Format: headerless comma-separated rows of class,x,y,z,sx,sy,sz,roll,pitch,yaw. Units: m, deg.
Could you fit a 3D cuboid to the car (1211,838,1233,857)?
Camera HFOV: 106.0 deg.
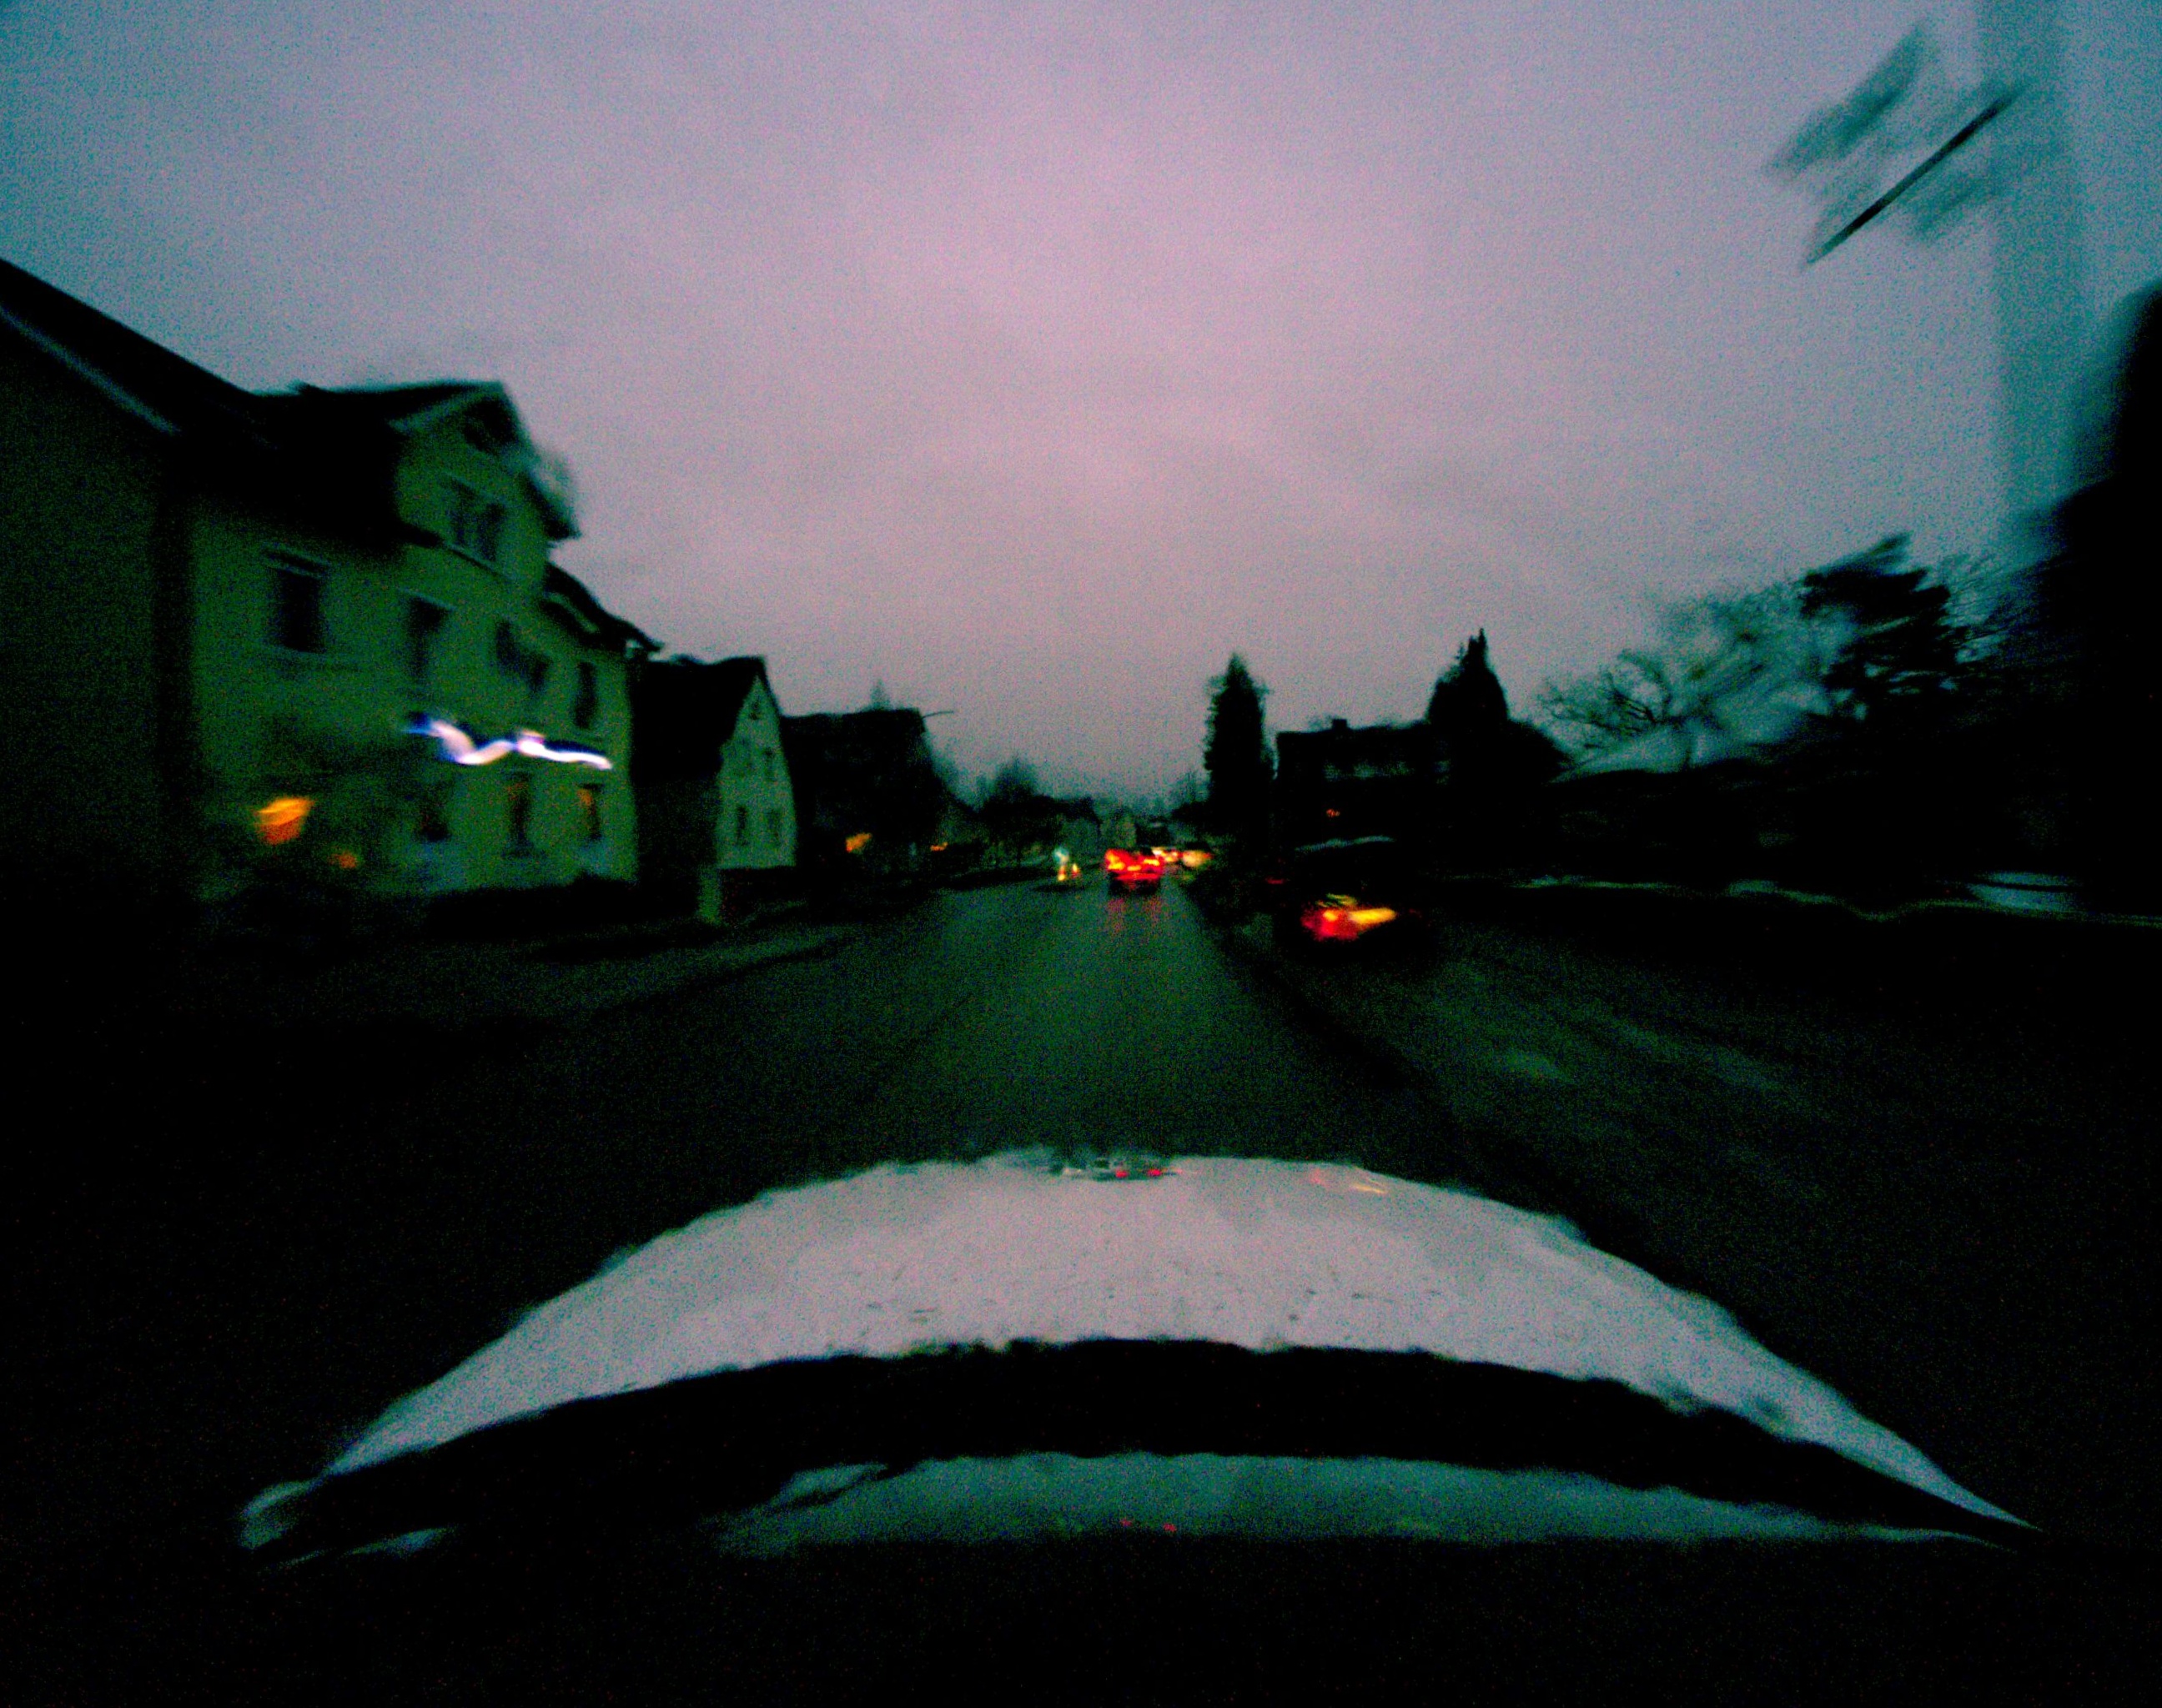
car,14.862,-0.691,85.657,1.732,1.785,4.354,-5,0,15

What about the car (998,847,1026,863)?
car,-8.748,0.094,103.876,1.976,2.013,4.022,0,1,22

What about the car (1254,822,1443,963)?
car,3.592,0.467,11.554,1.642,1.540,3.394,-6,0,4

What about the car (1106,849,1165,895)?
car,1.998,0.628,30.157,1.985,1.525,4.003,-2,0,3

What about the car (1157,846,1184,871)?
car,7.518,0.366,68.384,1.982,2.013,4.010,-2,0,9

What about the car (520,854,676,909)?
car,-15.866,0.884,26.901,3.972,1.600,1.923,-2,0,1

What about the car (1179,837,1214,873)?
car,7.267,0.033,51.681,1.967,2.013,5.757,-5,0,7
